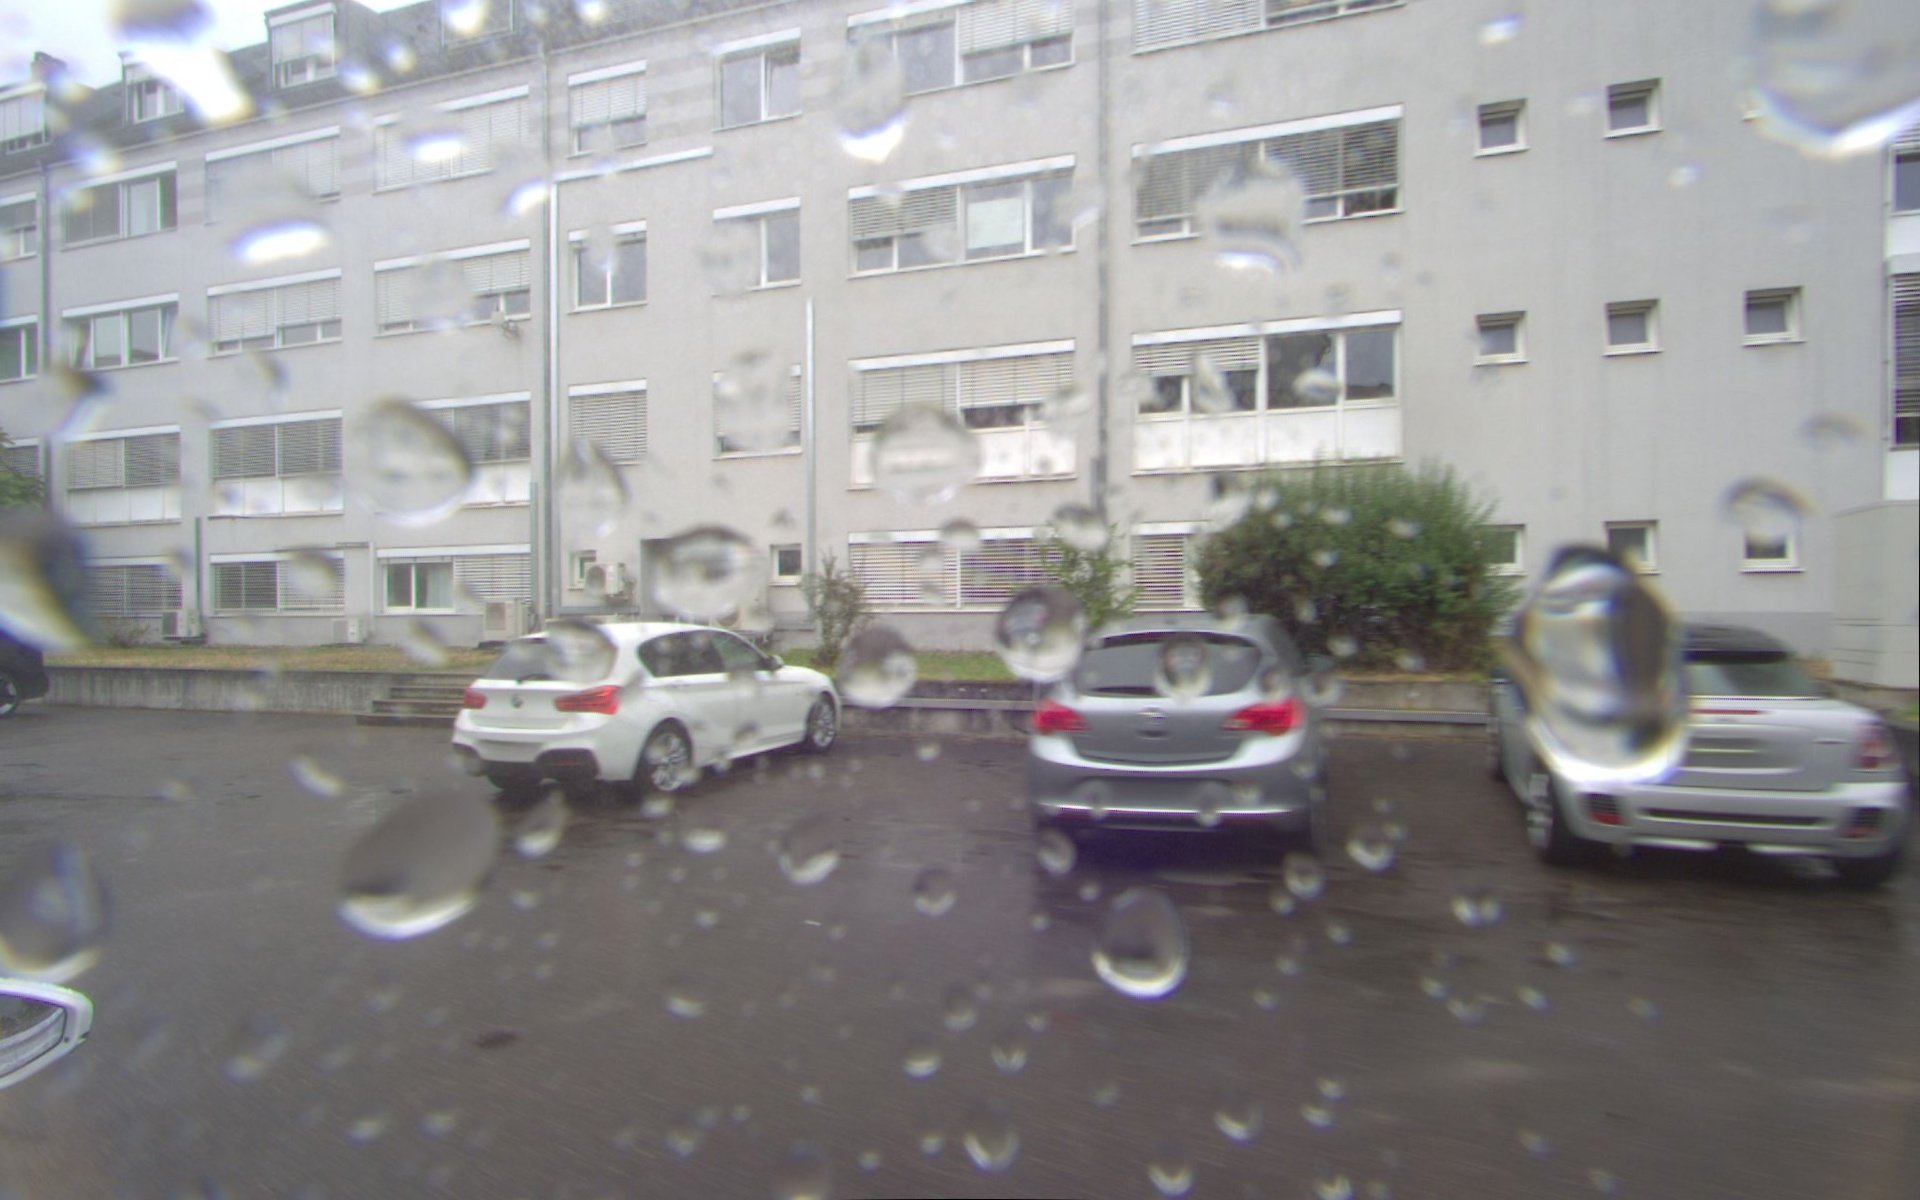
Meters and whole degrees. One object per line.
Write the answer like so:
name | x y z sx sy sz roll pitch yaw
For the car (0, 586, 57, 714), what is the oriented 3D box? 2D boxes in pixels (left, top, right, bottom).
car | -15.733 0.751 13.773 2.010 1.922 4.516 -1 -1 17

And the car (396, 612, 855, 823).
car | -2.840 0.892 9.617 1.965 1.509 4.212 1 0 21

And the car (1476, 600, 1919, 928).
car | 4.952 0.804 7.057 1.966 1.510 4.208 1 2 23

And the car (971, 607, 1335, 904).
car | 1.736 0.834 7.487 1.965 1.509 4.212 1 0 21
